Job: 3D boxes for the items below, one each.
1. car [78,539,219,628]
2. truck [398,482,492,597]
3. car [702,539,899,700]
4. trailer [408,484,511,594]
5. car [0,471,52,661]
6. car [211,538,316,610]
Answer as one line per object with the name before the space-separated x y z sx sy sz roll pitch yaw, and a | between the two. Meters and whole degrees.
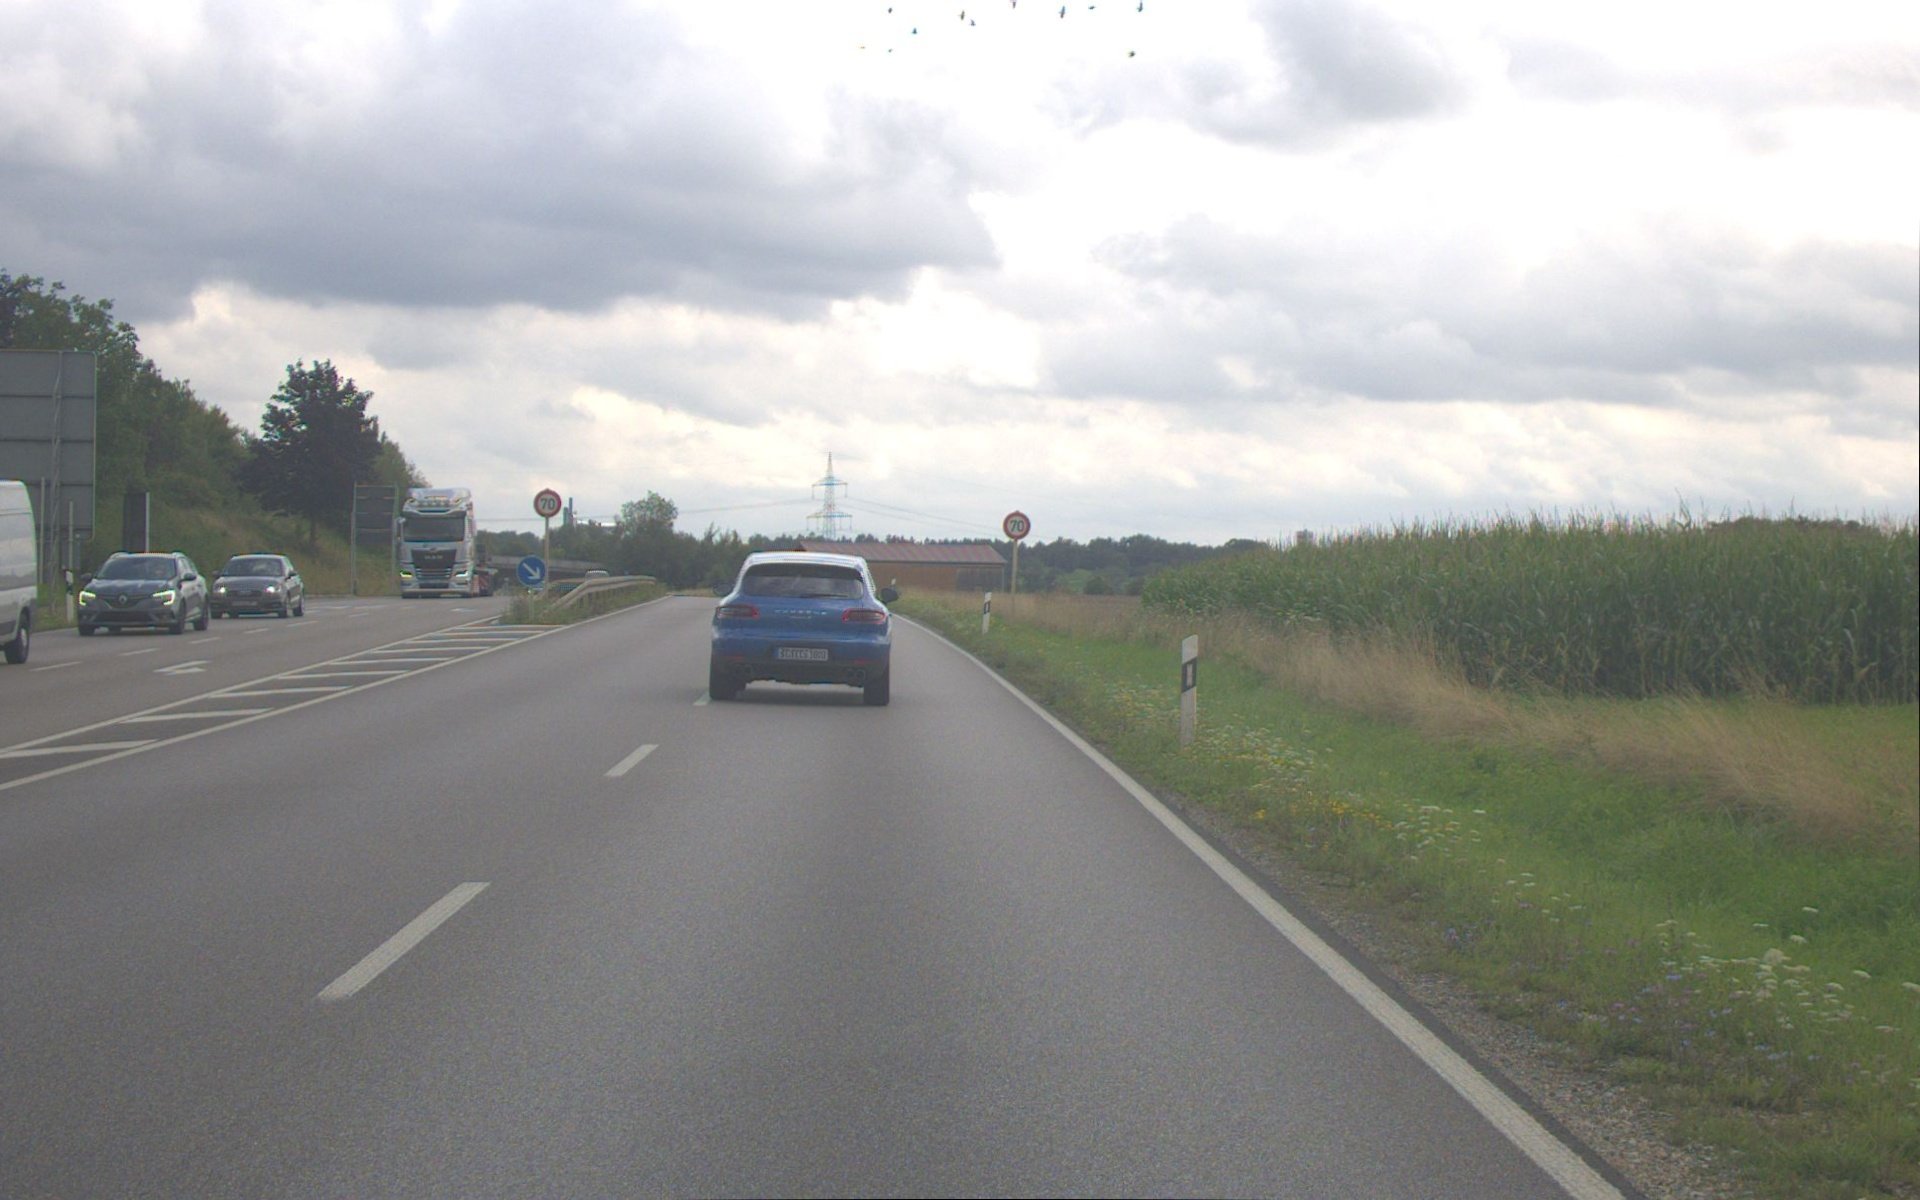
car | -14.601 -0.326 62.062 1.732 1.525 4.549 0 1 -3
truck | -18.567 -2.196 124.160 2.802 3.983 5.287 1 1 -3
car | -1.786 0.175 37.860 2.033 1.655 4.544 0 1 -3
trailer | -19.013 -2.372 131.361 2.775 3.933 12.988 1 1 -4
car | -13.350 -0.441 44.418 2.033 2.431 5.636 0 1 -3
car | -15.582 -0.606 77.034 1.732 1.525 4.194 0 1 -3
